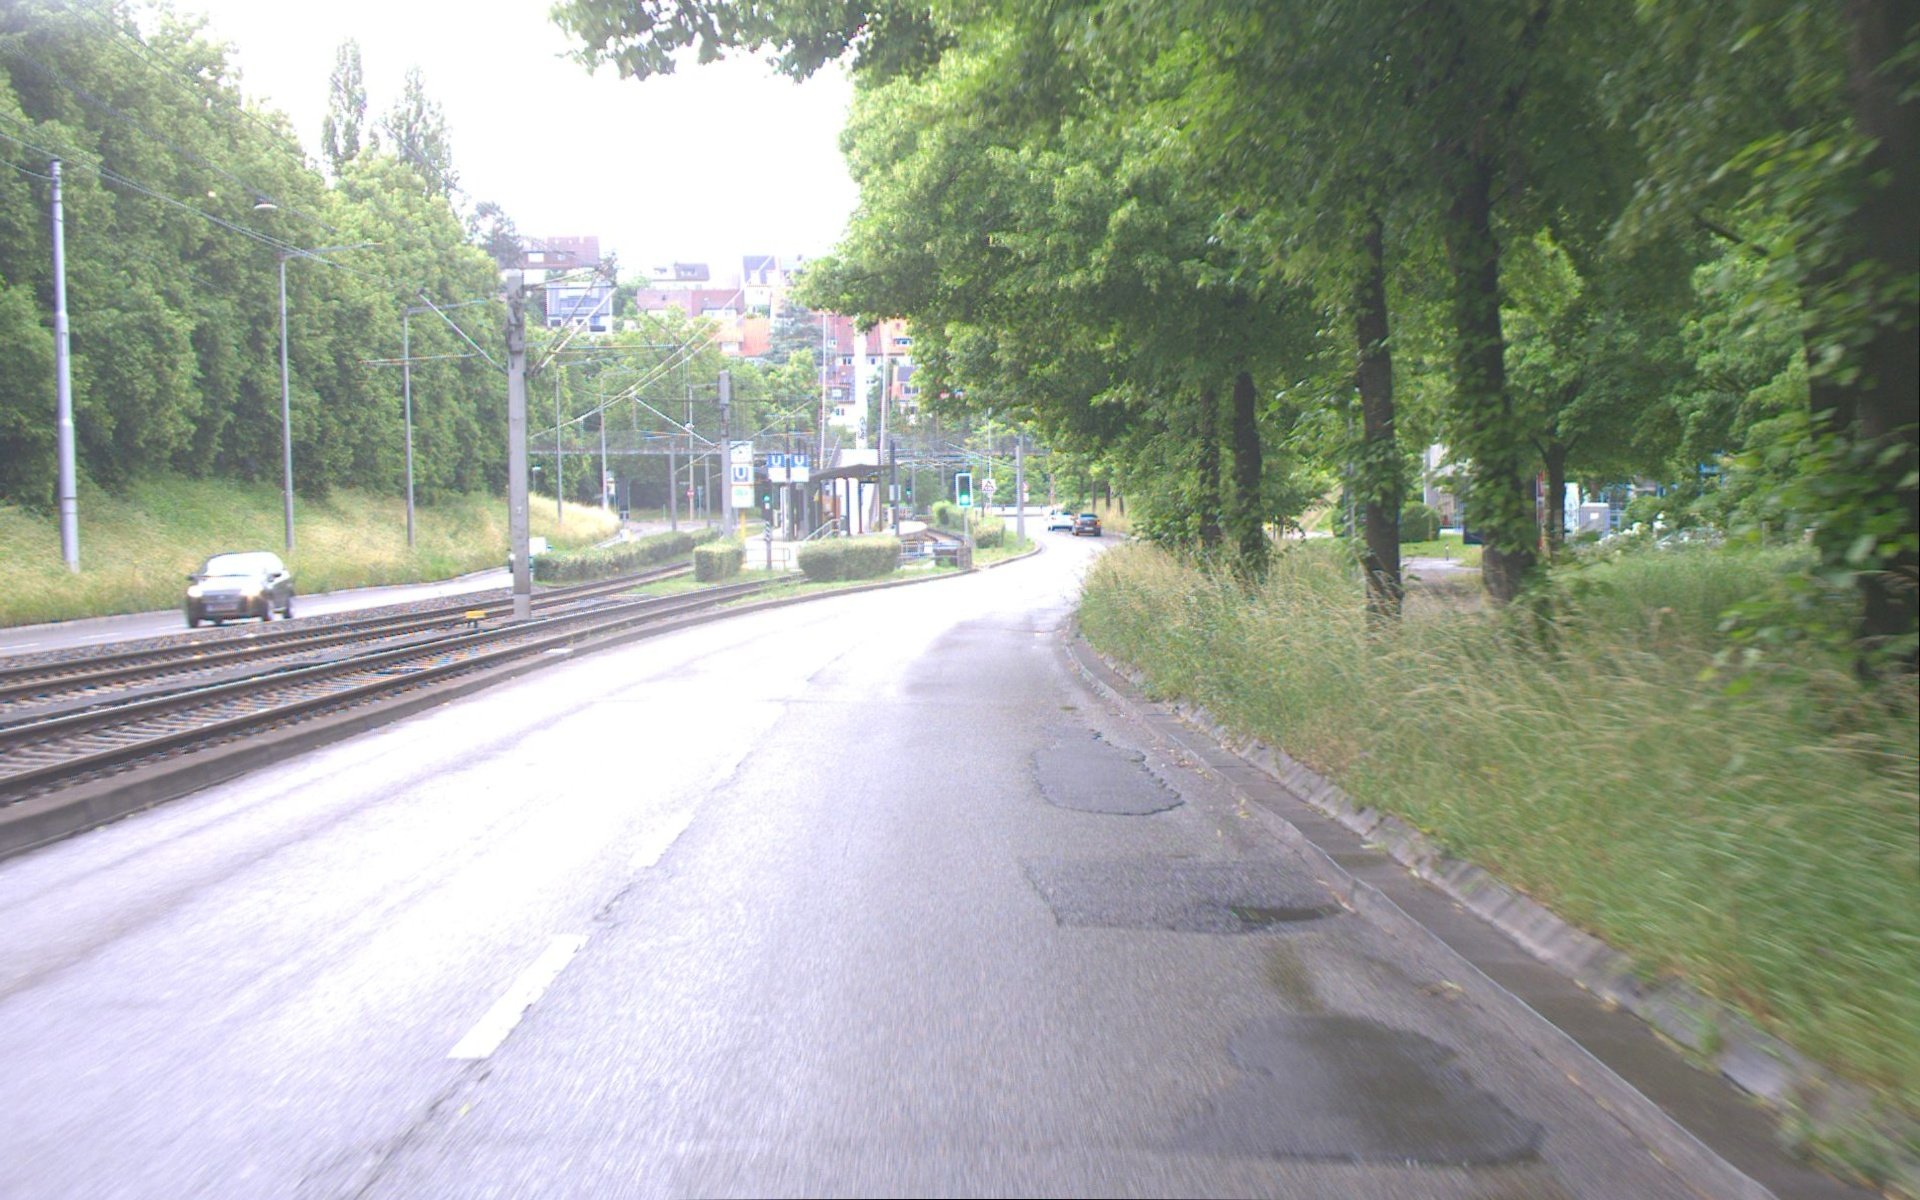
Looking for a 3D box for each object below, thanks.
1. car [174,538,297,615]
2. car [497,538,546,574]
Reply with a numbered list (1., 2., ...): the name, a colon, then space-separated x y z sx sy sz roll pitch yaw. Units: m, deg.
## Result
1. car: -14.784 -0.499 70.324 1.669 1.438 4.027 -3 1 -1
2. car: -19.630 -1.989 153.953 1.784 1.546 3.962 -2 1 -3
